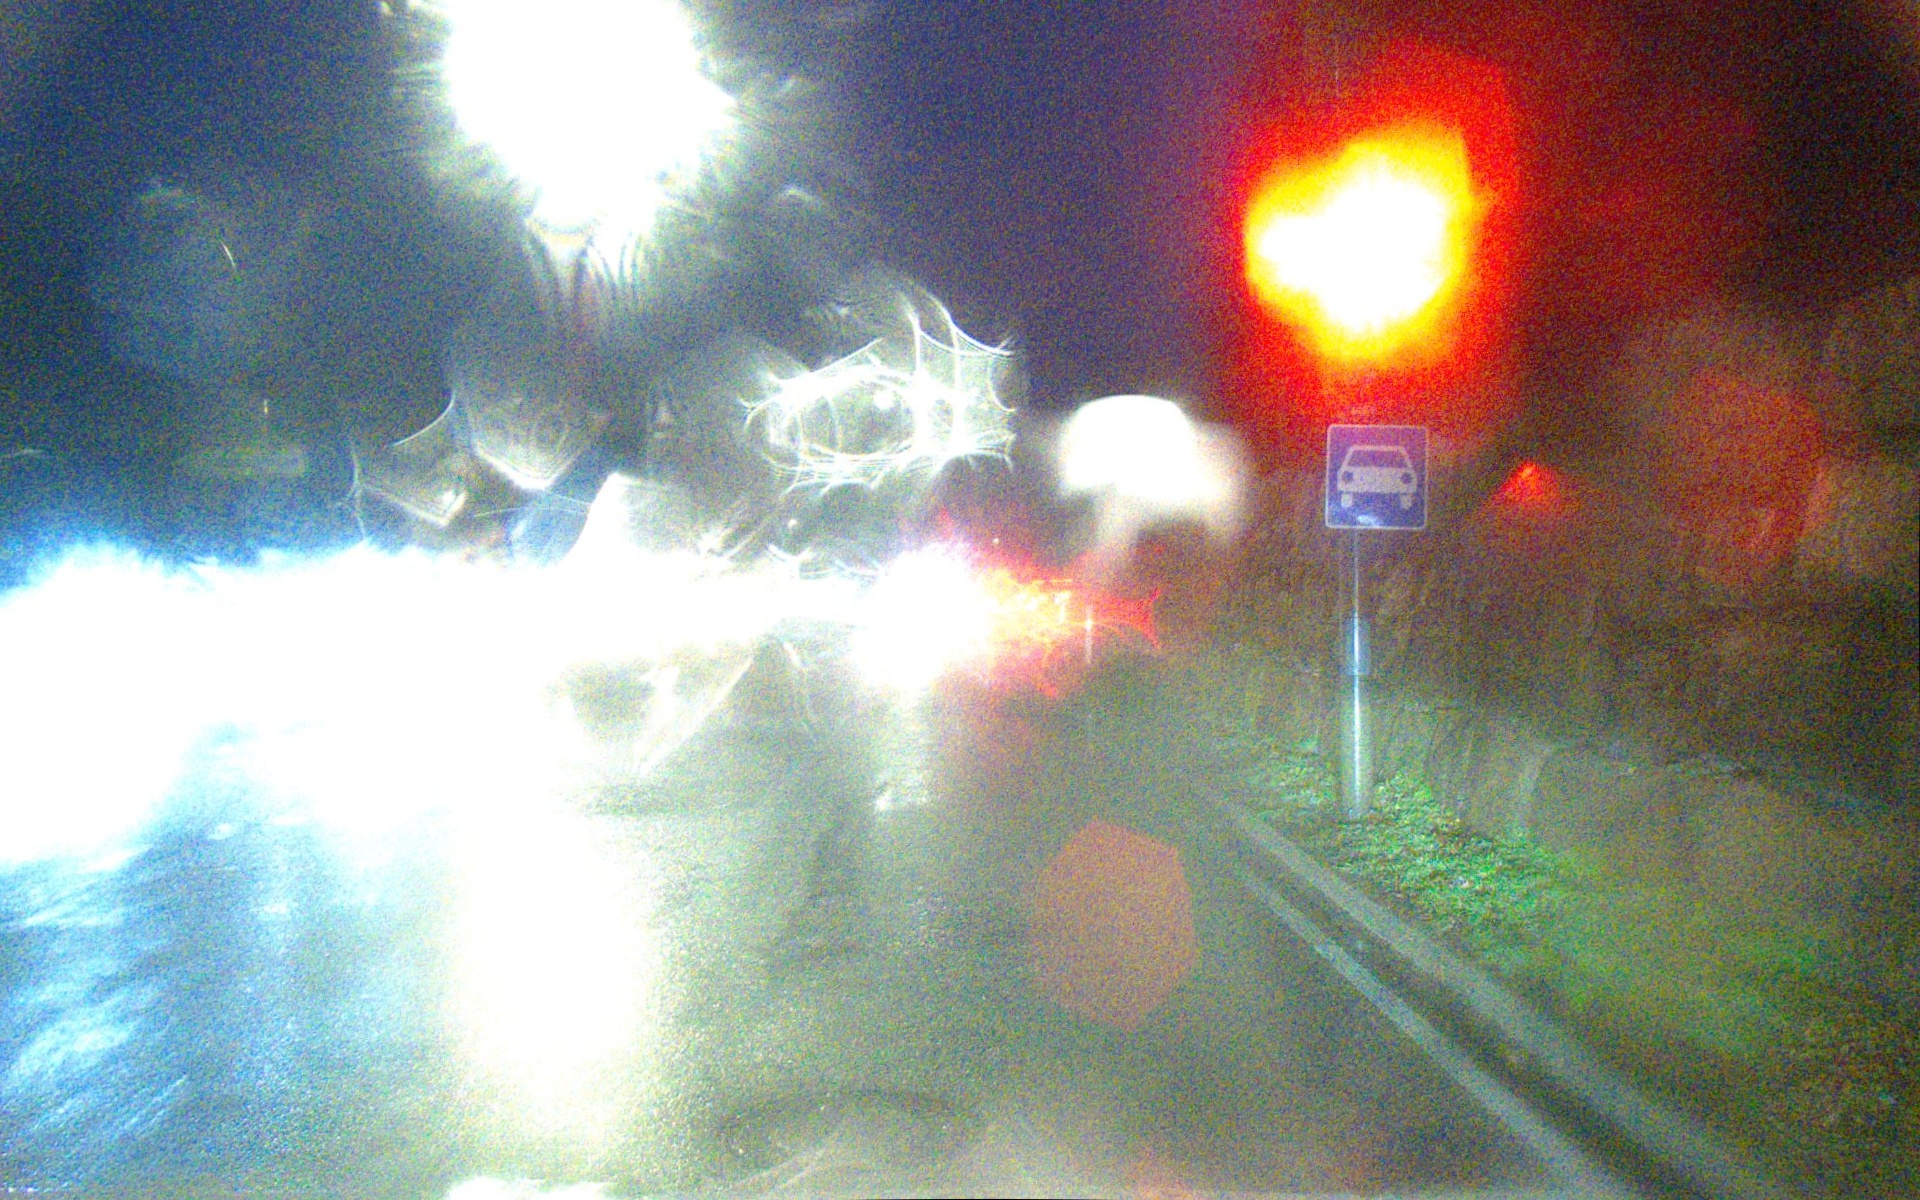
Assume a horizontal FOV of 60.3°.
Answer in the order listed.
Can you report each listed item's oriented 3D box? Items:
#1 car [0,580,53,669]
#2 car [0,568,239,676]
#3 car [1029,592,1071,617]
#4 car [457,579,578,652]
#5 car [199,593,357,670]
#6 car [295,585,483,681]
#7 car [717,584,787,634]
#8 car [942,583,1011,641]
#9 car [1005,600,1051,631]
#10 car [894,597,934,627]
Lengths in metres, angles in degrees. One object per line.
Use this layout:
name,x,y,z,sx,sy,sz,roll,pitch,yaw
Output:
car,-21.583,0.526,35.044,3.958,1.863,1.699,-1,1,-38
car,-13.623,0.314,26.818,1.755,1.599,4.913,0,0,-1
car,5.001,0.284,92.188,2.064,1.363,4.293,0,-1,-1
car,-9.874,0.347,37.167,1.552,1.552,3.653,0,-1,3
car,-13.715,0.622,33.455,1.634,1.479,3.727,0,-1,0
car,-10.228,0.549,30.020,1.663,1.599,4.713,0,0,1
car,-7.518,0.337,60.134,1.681,1.733,4.145,0,0,5
car,0.435,0.377,48.898,1.953,1.639,4.102,0,-1,-1
car,3.255,0.763,79.842,2.060,1.464,3.999,0,-1,-1
car,-2.447,0.639,88.998,1.672,1.561,4.602,0,-1,4
